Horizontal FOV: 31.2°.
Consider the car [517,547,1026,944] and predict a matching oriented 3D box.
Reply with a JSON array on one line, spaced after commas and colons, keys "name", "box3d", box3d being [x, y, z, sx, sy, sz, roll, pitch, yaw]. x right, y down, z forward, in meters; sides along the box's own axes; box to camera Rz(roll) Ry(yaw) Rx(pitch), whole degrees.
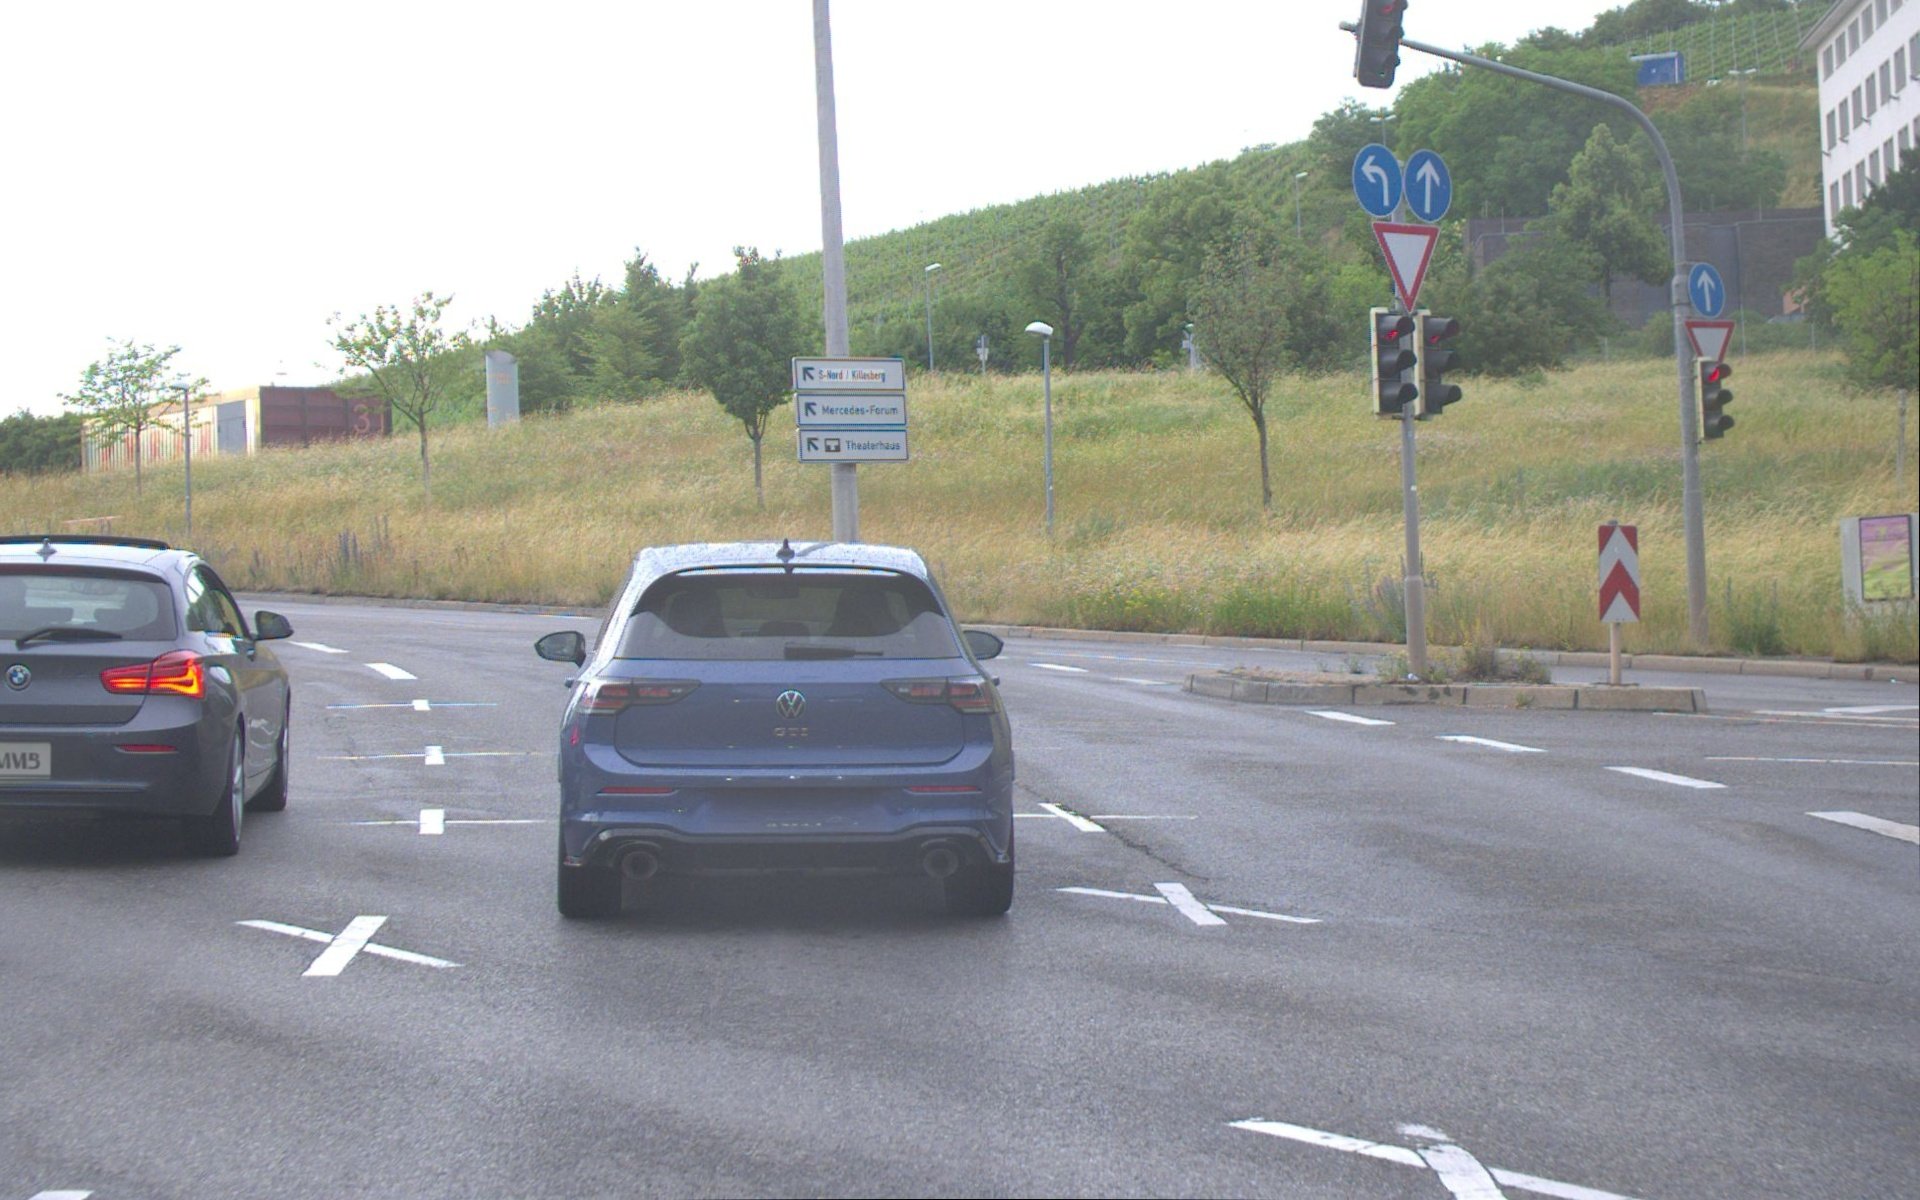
[{"name": "car", "box3d": [-0.813, 0.493, 14.427, 1.837, 1.389, 4.001, 0, 1, -4]}]

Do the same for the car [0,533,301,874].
[{"name": "car", "box3d": [-4.310, 0.406, 16.686, 1.869, 1.456, 3.977, 0, 1, -6]}]
